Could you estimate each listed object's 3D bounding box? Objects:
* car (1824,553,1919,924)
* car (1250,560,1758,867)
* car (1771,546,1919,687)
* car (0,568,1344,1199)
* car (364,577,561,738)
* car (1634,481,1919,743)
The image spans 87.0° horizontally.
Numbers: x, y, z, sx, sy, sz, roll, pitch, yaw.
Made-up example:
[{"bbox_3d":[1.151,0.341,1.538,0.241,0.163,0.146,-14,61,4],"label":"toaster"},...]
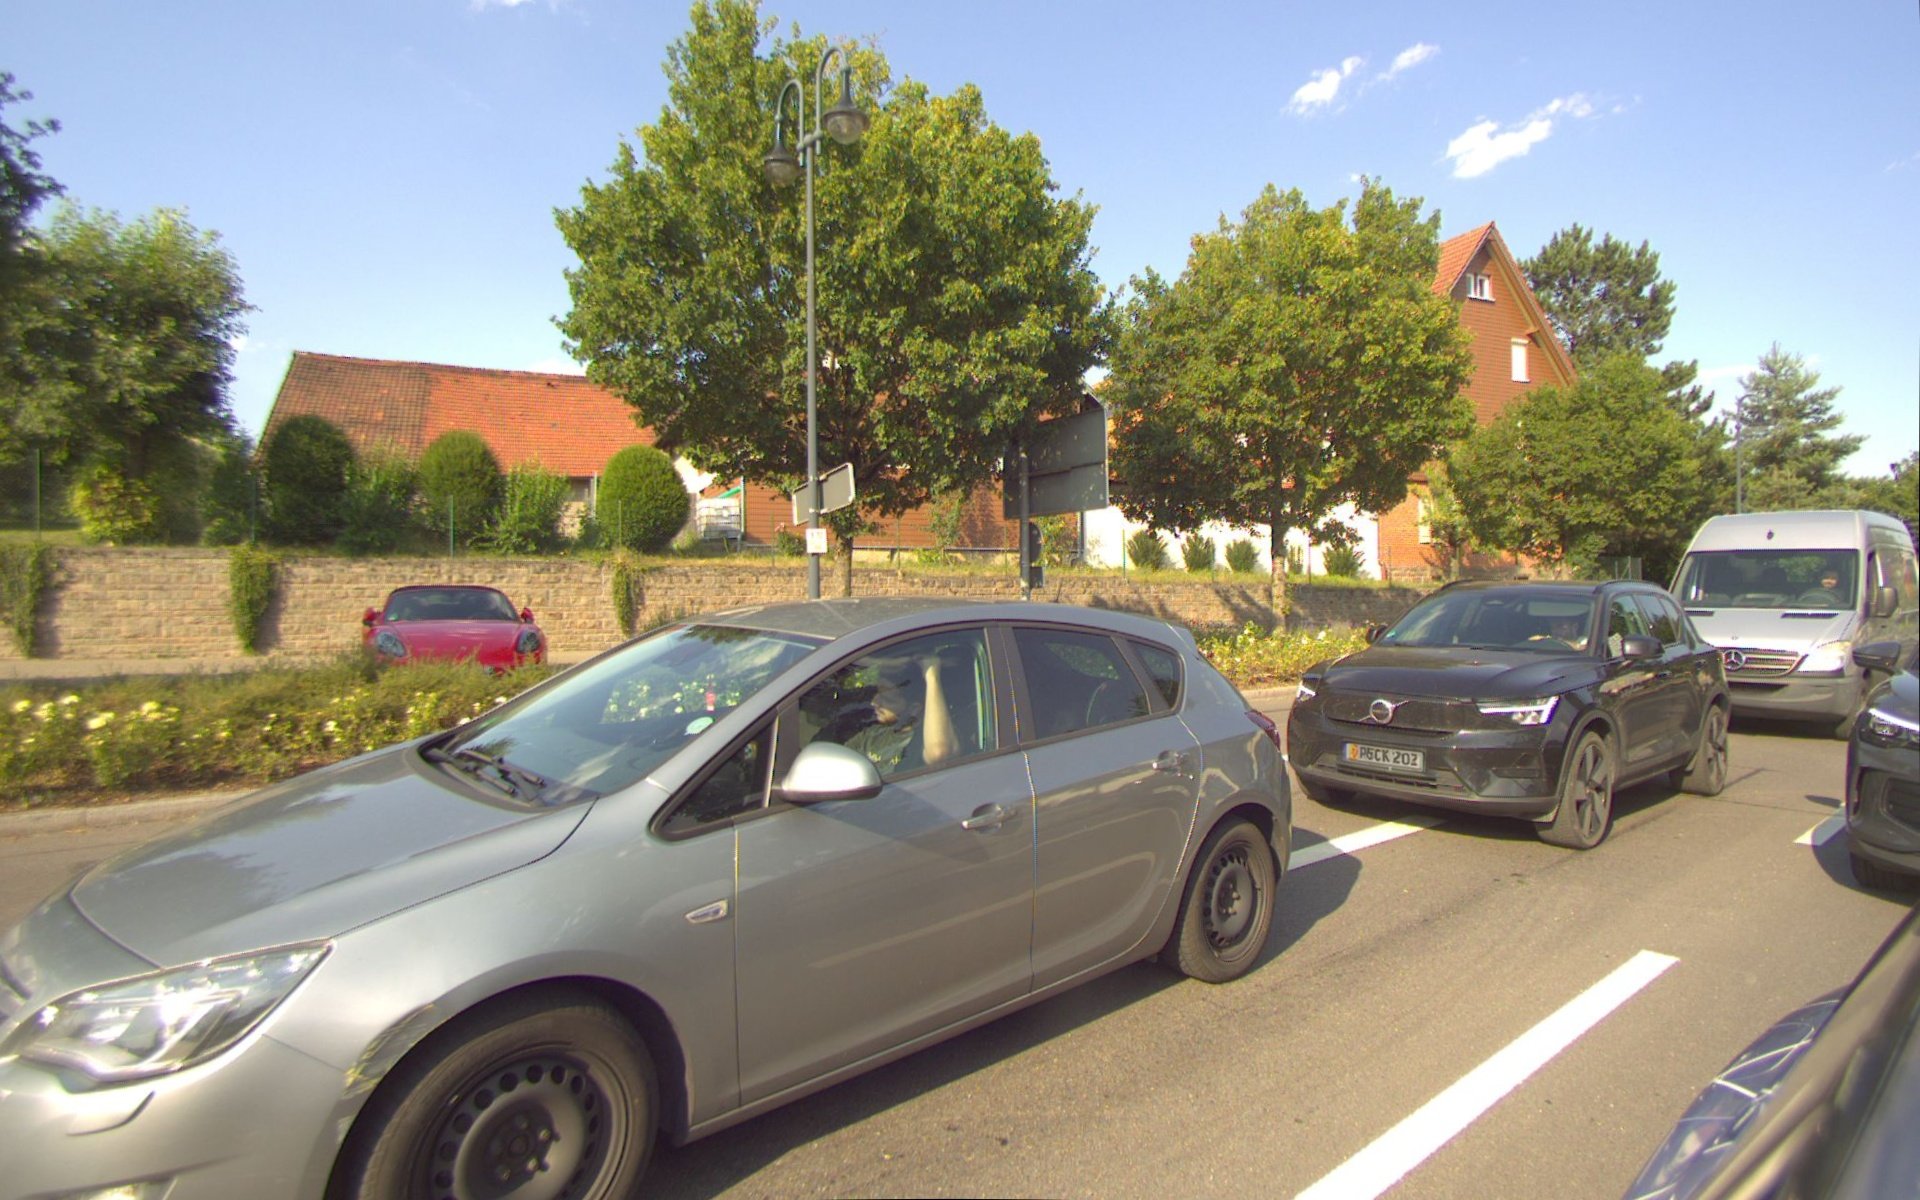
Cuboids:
[{"bbox_3d":[6.223,0.620,5.337,4.242,1.629,1.844,0,2,-40],"label":"car"},{"bbox_3d":[4.169,0.568,7.451,4.242,1.629,1.844,0,2,-40],"label":"car"},{"bbox_3d":[15.070,0.208,16.672,4.242,2.055,1.844,0,1,-40],"label":"car"},{"bbox_3d":[-0.550,0.667,3.522,4.244,1.471,1.765,0,2,-42],"label":"car"},{"bbox_3d":[-5.888,0.526,11.713,1.743,1.510,4.156,0,0,-31],"label":"car"},{"bbox_3d":[10.669,0.084,12.758,5.938,2.601,1.992,0,1,-40],"label":"car"}]
